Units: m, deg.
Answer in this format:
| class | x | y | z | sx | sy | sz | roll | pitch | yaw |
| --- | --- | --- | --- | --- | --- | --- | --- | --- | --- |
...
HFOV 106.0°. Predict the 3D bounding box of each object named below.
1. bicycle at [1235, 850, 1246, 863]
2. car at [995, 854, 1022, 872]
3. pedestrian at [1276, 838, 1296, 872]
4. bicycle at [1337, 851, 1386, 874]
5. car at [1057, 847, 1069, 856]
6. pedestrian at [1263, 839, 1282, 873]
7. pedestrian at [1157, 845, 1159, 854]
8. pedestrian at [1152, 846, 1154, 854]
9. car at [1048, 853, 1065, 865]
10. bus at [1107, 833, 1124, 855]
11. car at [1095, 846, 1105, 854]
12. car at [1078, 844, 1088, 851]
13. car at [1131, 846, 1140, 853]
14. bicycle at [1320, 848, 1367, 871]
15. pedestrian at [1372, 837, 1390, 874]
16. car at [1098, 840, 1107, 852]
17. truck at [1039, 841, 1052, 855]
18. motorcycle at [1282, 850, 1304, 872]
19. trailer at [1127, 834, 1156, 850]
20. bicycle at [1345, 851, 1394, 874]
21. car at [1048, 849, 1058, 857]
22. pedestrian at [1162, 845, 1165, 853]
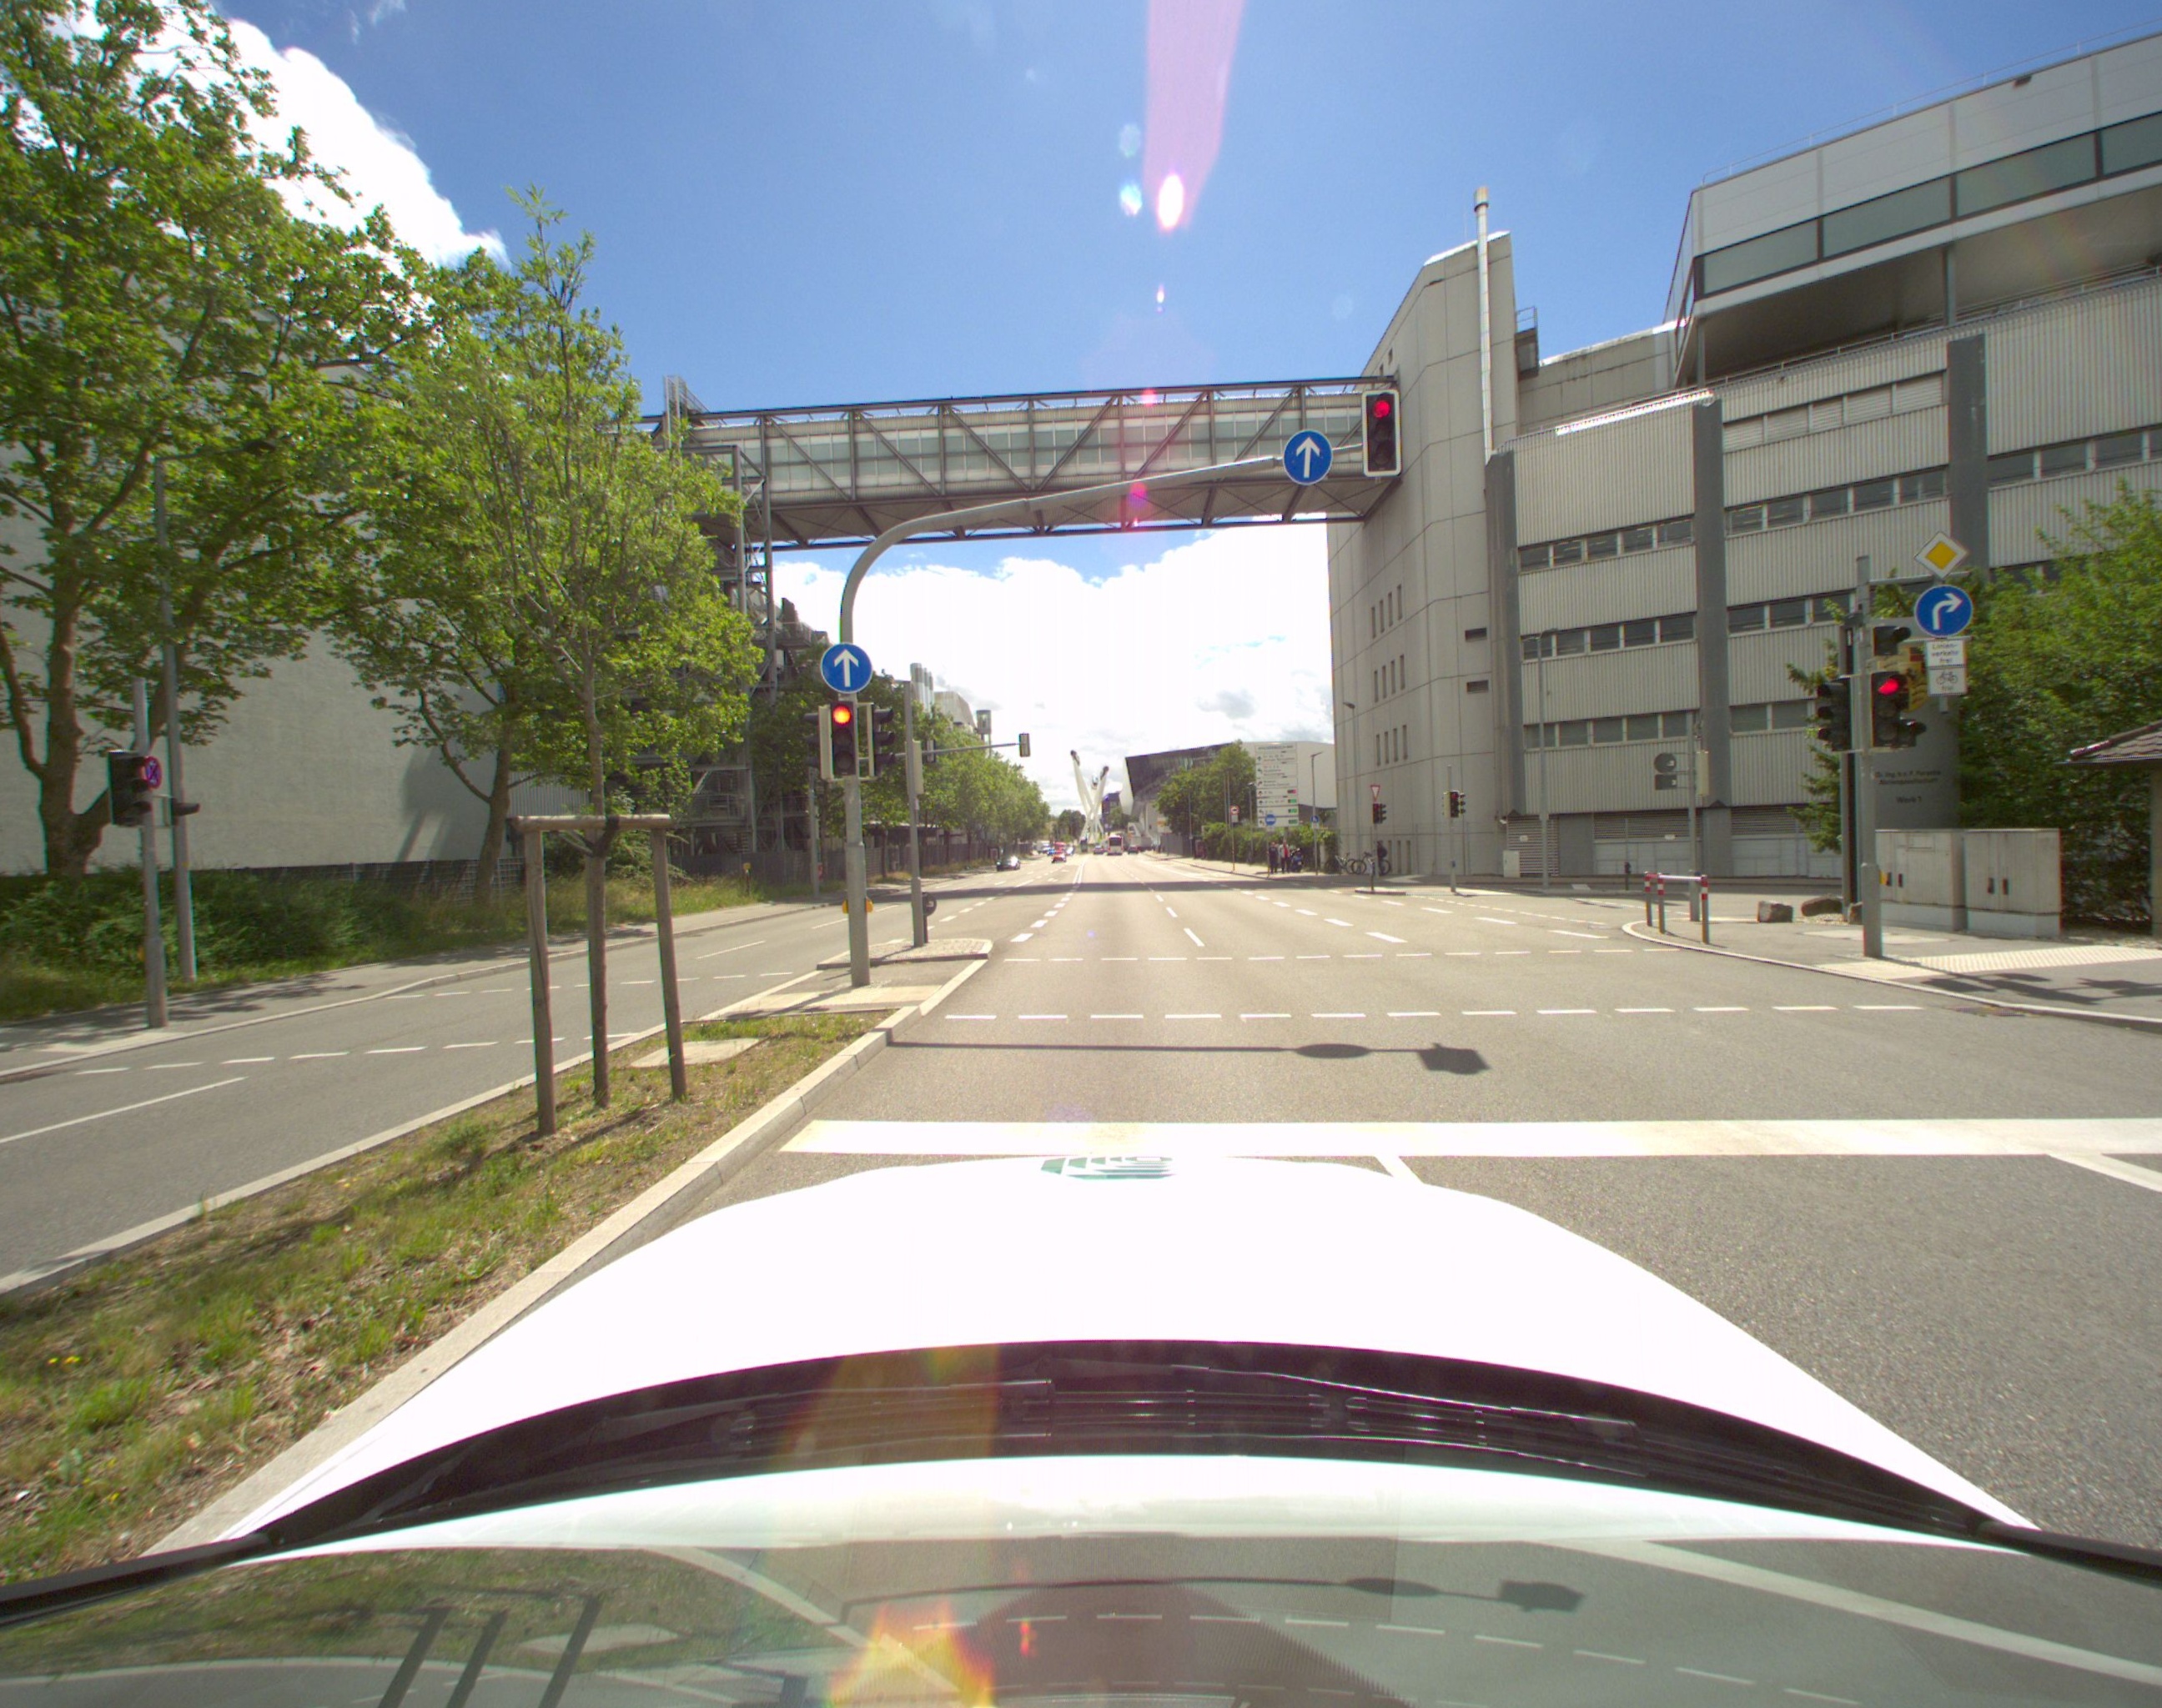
| class | x | y | z | sx | sy | sz | roll | pitch | yaw |
| --- | --- | --- | --- | --- | --- | --- | --- | --- | --- |
| bicycle | 12.727 | 0.174 | 65.121 | 0.417 | 1.022 | 1.911 | 0 | -1 | -2 |
| car | -7.018 | 0.867 | 79.445 | 1.910 | 1.488 | 4.775 | -4 | 0 | 3 |
| pedestrian | 11.197 | 0.060 | 44.481 | 0.692 | 1.793 | 0.709 | -4 | 0 | -14 |
| bicycle | 13.521 | 0.401 | 39.351 | 2.196 | 1.086 | 0.480 | -1 | -1 | 37 |
| car | -3.047 | -0.485 | 142.228 | 1.762 | 1.420 | 3.704 | -4 | 0 | 3 |
| pedestrian | 10.485 | 0.110 | 44.550 | 0.642 | 1.793 | 0.709 | -4 | 0 | -14 |
| pedestrian | 13.020 | -0.721 | 137.576 | 0.384 | 1.421 | 0.424 | 0 | -1 | 2 |
| pedestrian | 12.197 | -0.692 | 137.827 | 0.384 | 1.421 | 0.424 | 0 | -1 | 2 |
| car | -3.004 | 0.609 | 101.104 | 1.762 | 1.420 | 3.704 | -4 | 0 | 3 |
| bus | 5.995 | -1.647 | 140.993 | 2.776 | 3.686 | 6.947 | 0 | -1 | 3 |
| car | 3.454 | -0.734 | 148.798 | 1.551 | 1.273 | 3.704 | -4 | 0 | 3 |
| car | 0.425 | -1.187 | 155.762 | 1.551 | 1.273 | 3.704 | -4 | 0 | 3 |
| car | 9.801 | -0.825 | 146.271 | 1.551 | 1.273 | 3.704 | -4 | 0 | 3 |
| bicycle | 13.088 | 0.278 | 40.695 | 2.196 | 1.086 | 0.480 | -1 | -1 | 37 |
| pedestrian | 13.691 | 0.077 | 37.178 | 0.650 | 1.640 | 0.538 | -1 | -1 | 30 |
| car | 4.526 | -1.661 | 171.586 | 1.838 | 2.624 | 3.999 | 0 | -1 | 0 |
| truck | -8.613 | -1.420 | 197.065 | 2.581 | 3.324 | 7.083 | 0 | -1 | 3 |
| motorcycle | 11.654 | 0.397 | 44.885 | 0.418 | 1.166 | 1.951 | 0 | -1 | -9 |
| trailer | 12.826 | -2.464 | 172.125 | 3.291 | 2.995 | 10.429 | -1 | -1 | 21 |
| bicycle | 13.660 | 0.394 | 38.587 | 2.166 | 1.086 | 0.480 | -1 | -1 | 37 |
| car | -5.578 | -0.220 | 160.868 | 1.792 | 1.574 | 4.000 | -1 | 0 | 0 |
| pedestrian | 14.002 | -0.882 | 138.569 | 0.384 | 1.421 | 0.424 | 0 | -1 | 2 |
